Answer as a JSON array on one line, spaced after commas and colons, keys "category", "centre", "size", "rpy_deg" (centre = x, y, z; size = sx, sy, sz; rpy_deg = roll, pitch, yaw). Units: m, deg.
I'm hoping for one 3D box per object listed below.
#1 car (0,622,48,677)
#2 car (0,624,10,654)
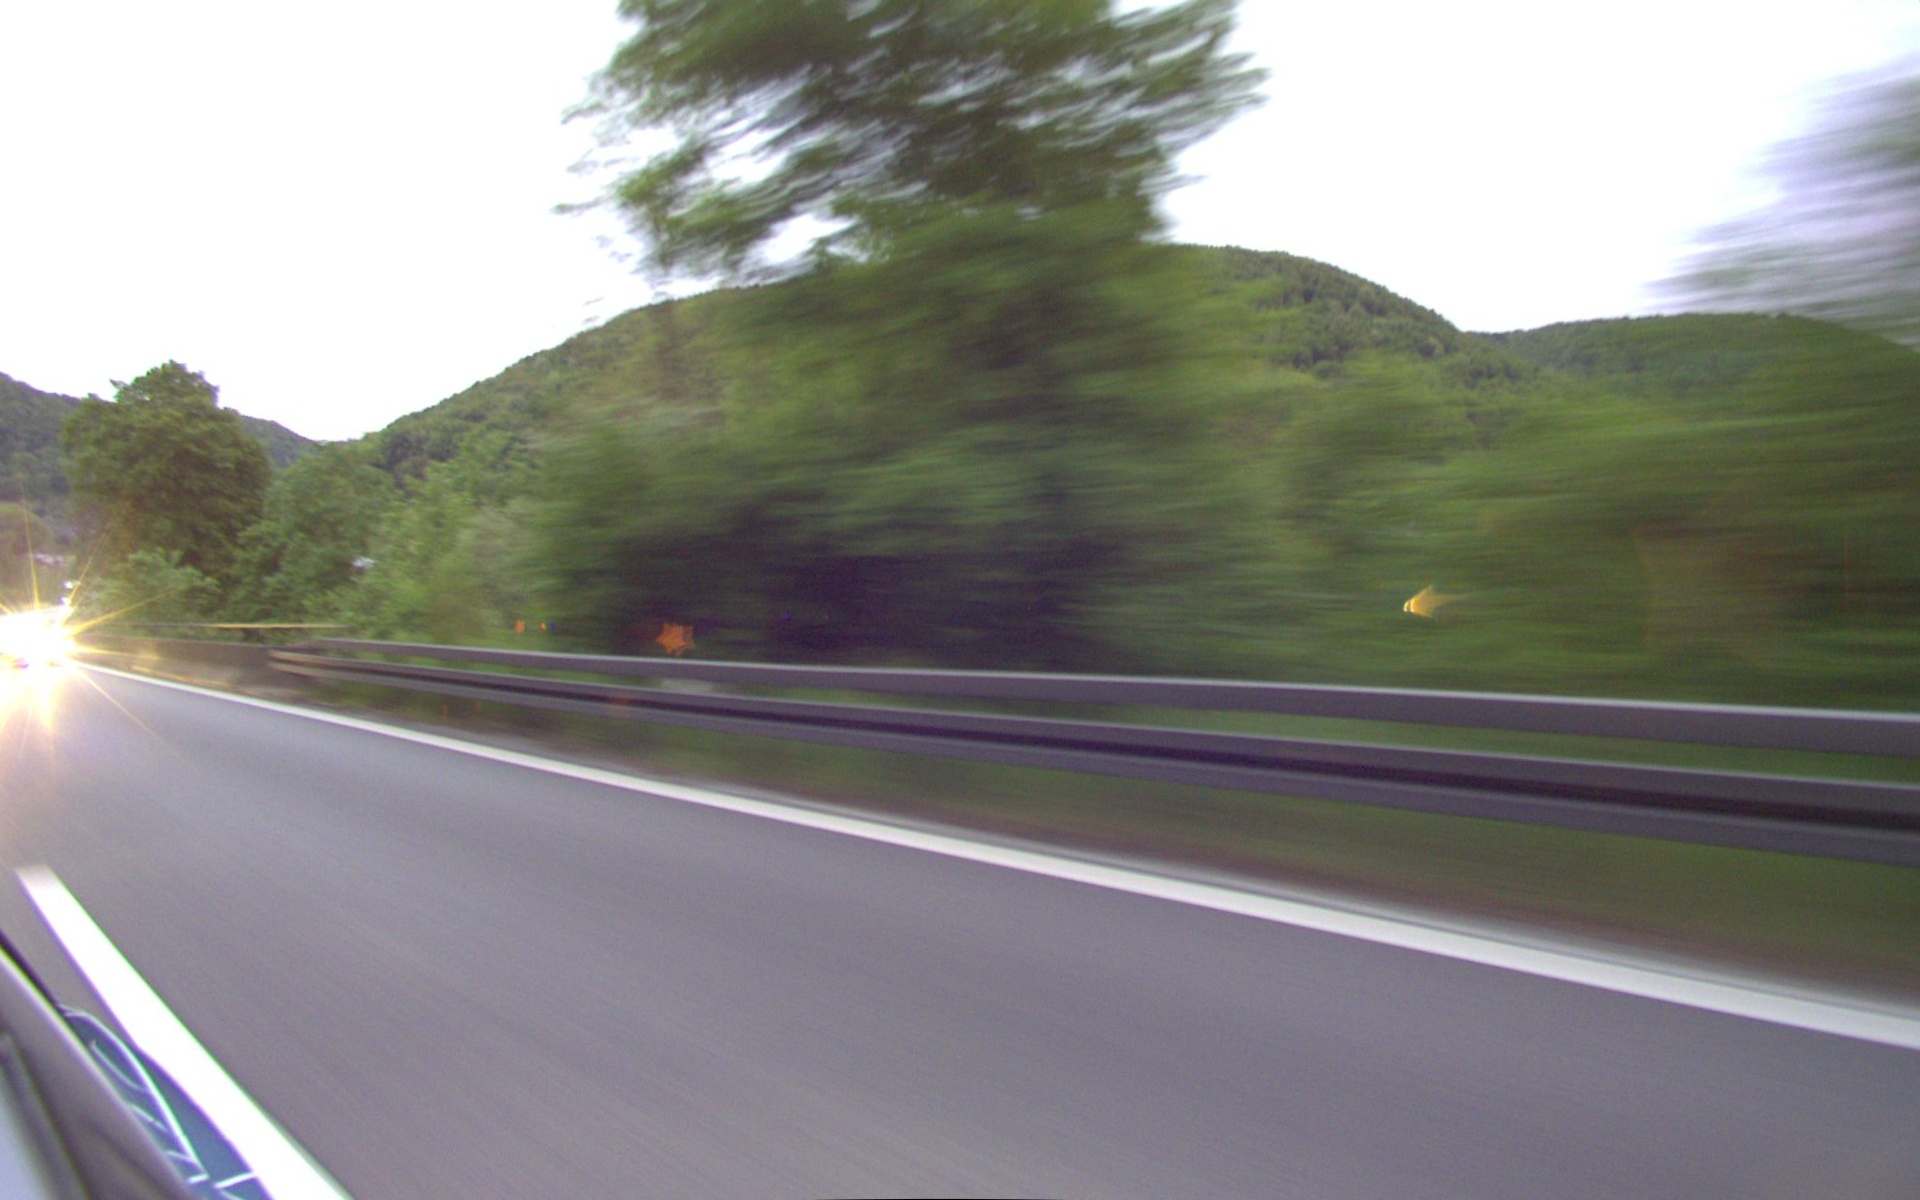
[{"category": "car", "centre": [-27.435, 1.389, 29.083], "size": [1.666, 1.479, 3.770], "rpy_deg": [-1, 0, -44]}, {"category": "car", "centre": [-48.306, 1.926, 50.091], "size": [3.669, 1.444, 1.667], "rpy_deg": [-1, 0, 44]}]
